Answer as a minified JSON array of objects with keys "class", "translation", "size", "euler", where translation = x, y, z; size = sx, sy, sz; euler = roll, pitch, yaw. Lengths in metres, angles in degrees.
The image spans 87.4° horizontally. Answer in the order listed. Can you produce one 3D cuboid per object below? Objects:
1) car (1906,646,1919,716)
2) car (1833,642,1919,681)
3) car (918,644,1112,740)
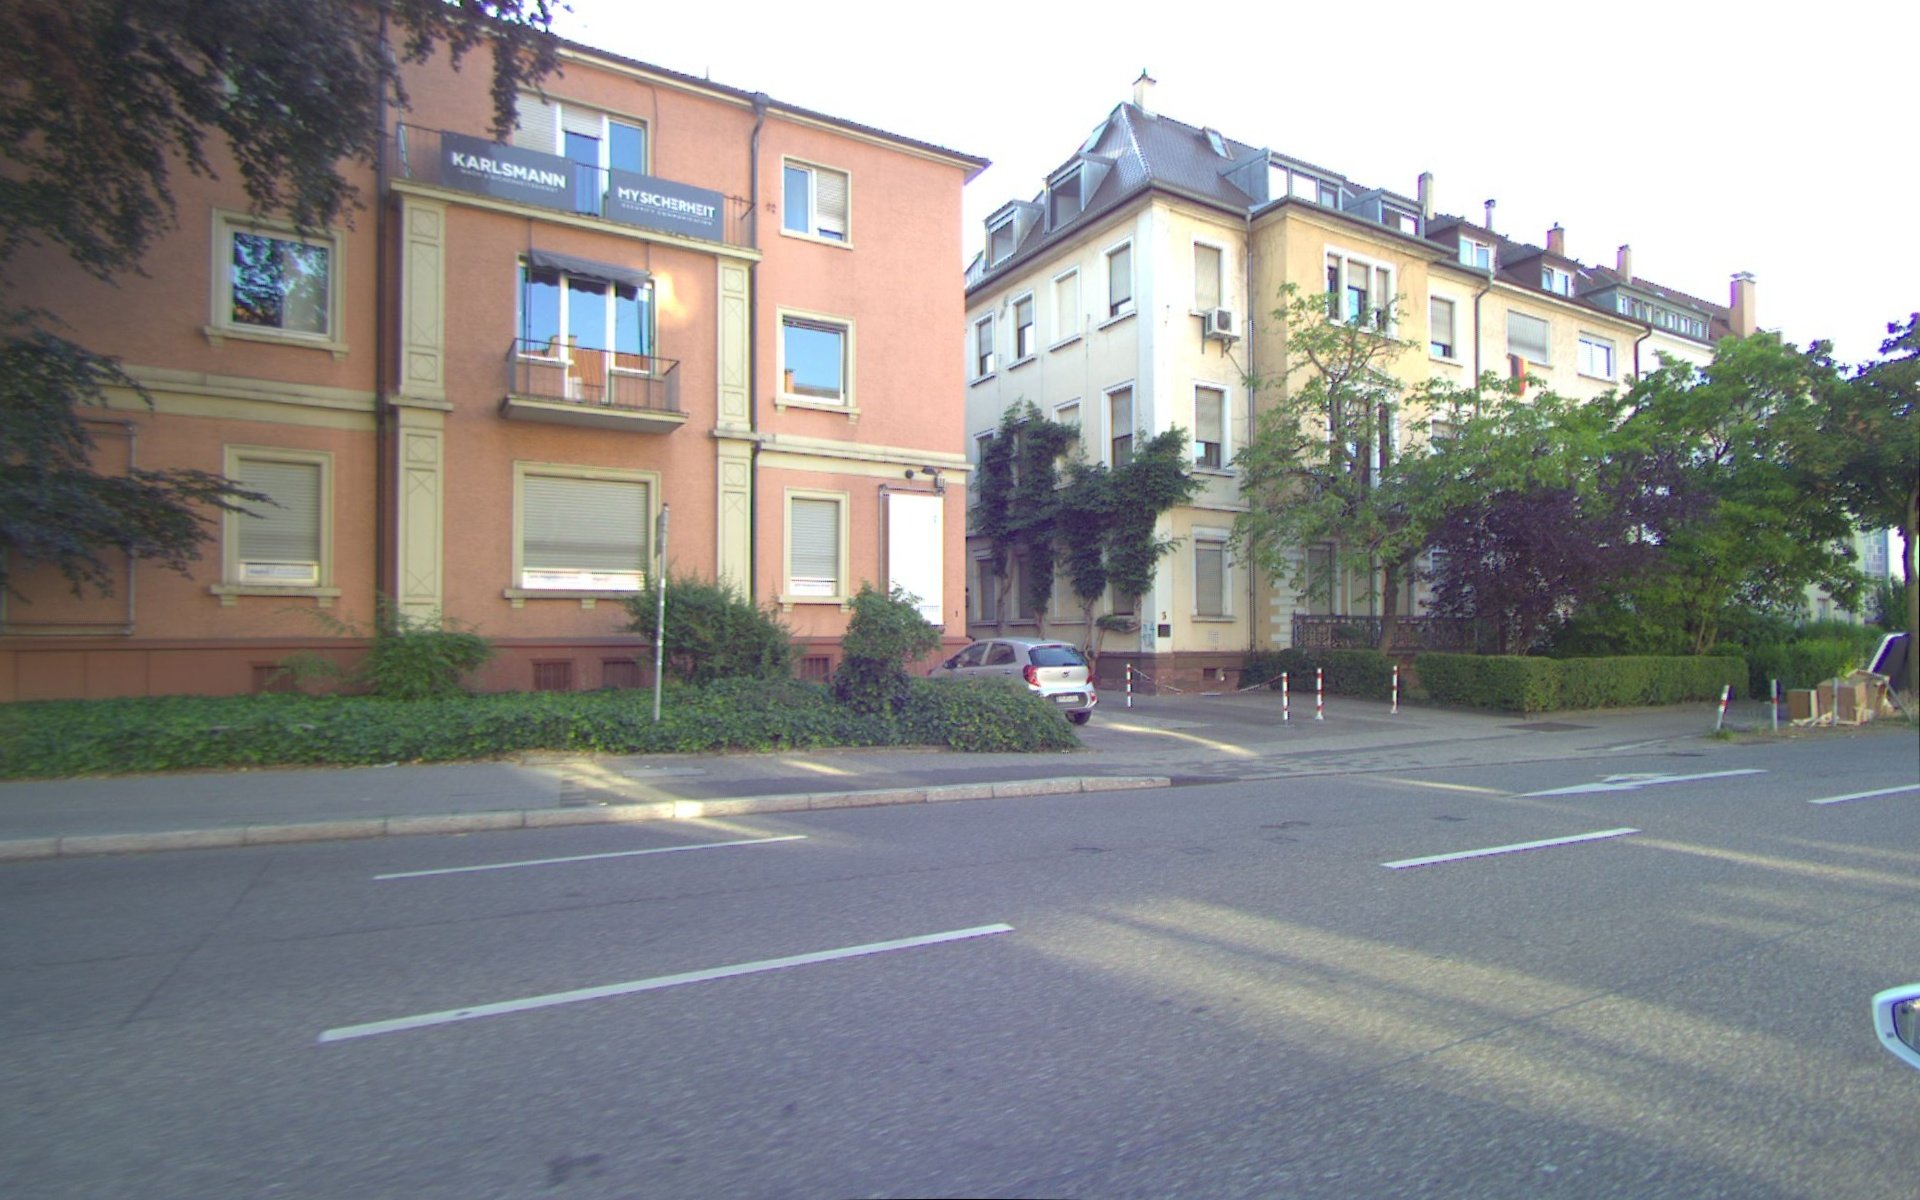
[{"class":"car","translation":[23.137,1.774,22.490],"size":[4.148,1.522,1.742],"euler":[1,-2,-31]},{"class":"car","translation":[35.115,2.236,36.691],"size":[1.986,1.380,4.667],"euler":[1,-3,-43]},{"class":"car","translation":[0.898,1.562,18.102],"size":[1.796,1.505,3.477],"euler":[1,-2,-34]}]
